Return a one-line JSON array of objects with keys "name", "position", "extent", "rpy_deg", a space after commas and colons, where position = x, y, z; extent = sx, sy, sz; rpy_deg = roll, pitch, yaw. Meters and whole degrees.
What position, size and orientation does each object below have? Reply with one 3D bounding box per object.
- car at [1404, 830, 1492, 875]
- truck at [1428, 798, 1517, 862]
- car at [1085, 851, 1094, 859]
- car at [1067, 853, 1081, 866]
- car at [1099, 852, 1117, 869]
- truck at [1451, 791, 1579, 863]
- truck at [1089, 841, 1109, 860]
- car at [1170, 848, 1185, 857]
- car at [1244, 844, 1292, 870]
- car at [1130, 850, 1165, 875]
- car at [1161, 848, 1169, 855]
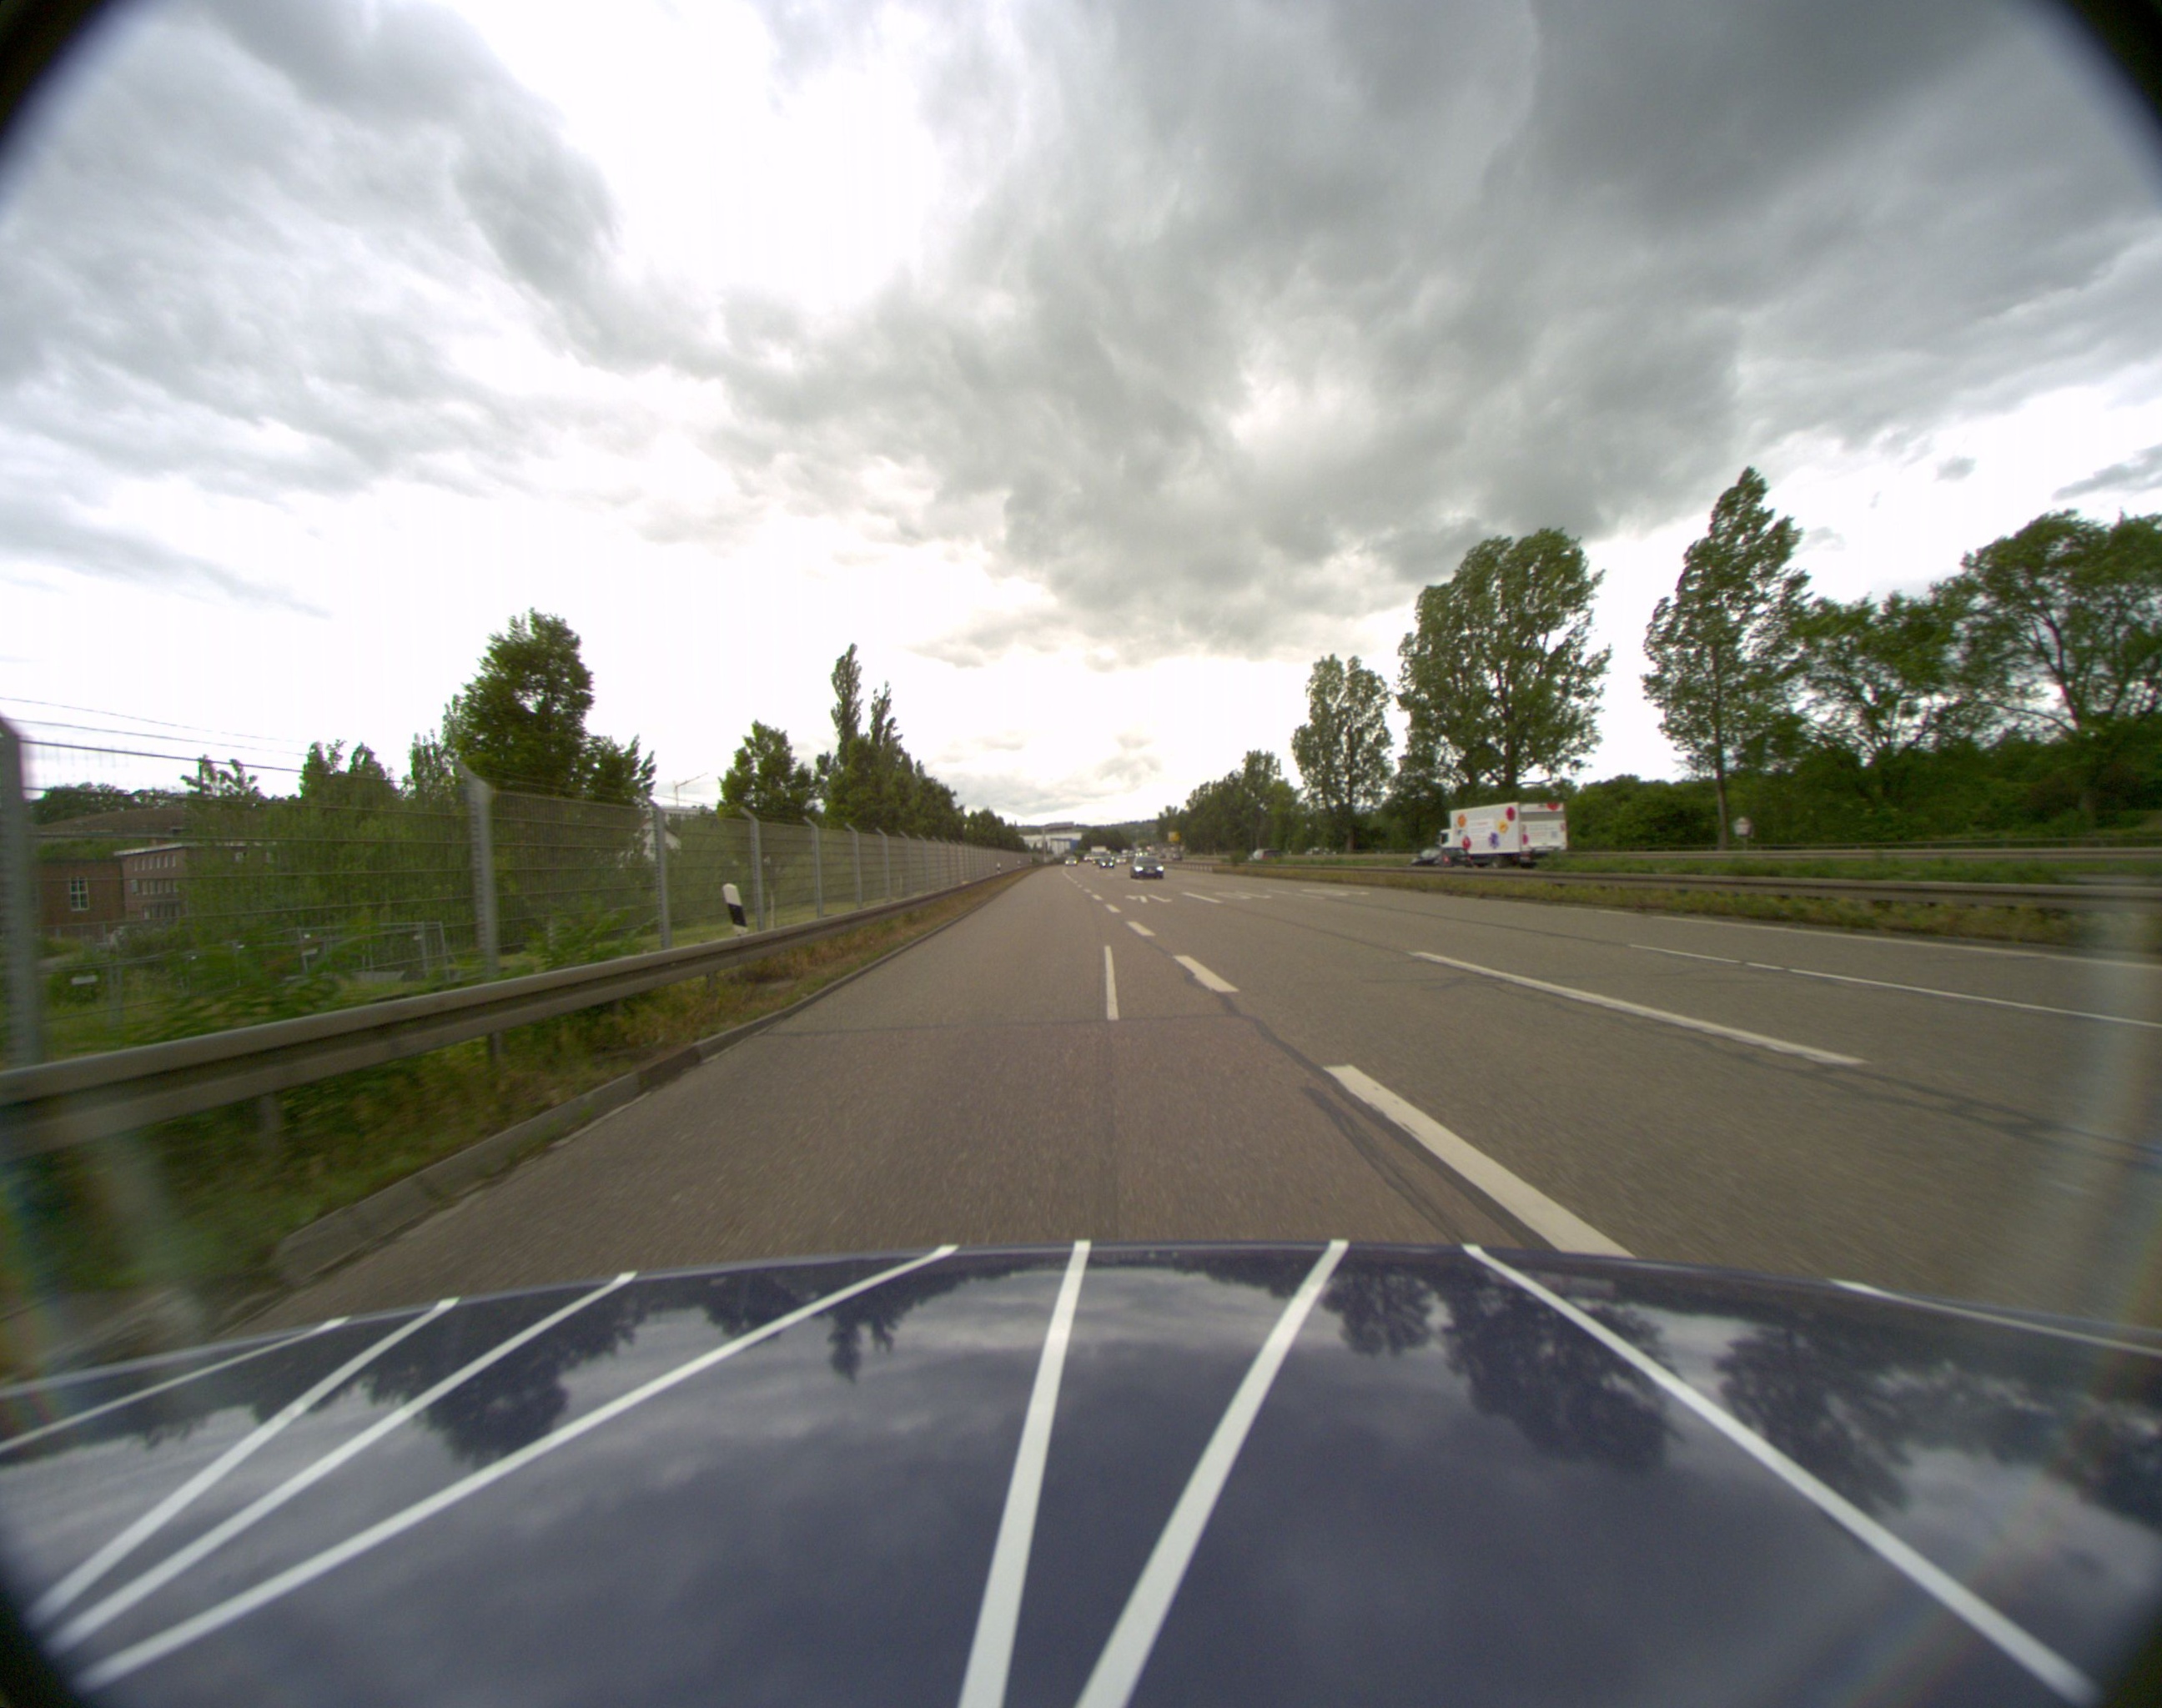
[{"name": "car", "position": [18.153, -0.071, 37.809], "extent": [1.999, 2.002, 3.998], "rpy_deg": [-4, 0, -6]}, {"name": "truck", "position": [24.110, -1.415, 47.045], "extent": [2.993, 3.622, 3.998], "rpy_deg": [-4, 1, -6]}, {"name": "car", "position": [2.137, 0.222, 186.552], "extent": [1.999, 2.002, 4.000], "rpy_deg": [-2, 0, 0]}, {"name": "car", "position": [-1.207, 0.883, 126.341], "extent": [1.998, 2.002, 4.000], "rpy_deg": [-4, 1, 3]}, {"name": "car", "position": [3.264, 0.785, 92.477], "extent": [1.998, 2.002, 4.001], "rpy_deg": [-4, 0, 3]}, {"name": "truck", "position": [24.516, -1.406, 43.317], "extent": [2.991, 3.622, 6.334], "rpy_deg": [-4, 0, -6]}, {"name": "truck", "position": [3.074, -0.606, 131.616], "extent": [3.040, 3.141, 7.565], "rpy_deg": [-2, 1, -1]}, {"name": "car", "position": [19.831, -0.332, 156.038], "extent": [1.999, 1.599, 4.648], "rpy_deg": [-4, 0, -4]}, {"name": "car", "position": [14.024, 0.210, 57.458], "extent": [1.851, 1.720, 5.523], "rpy_deg": [-4, 0, -4]}, {"name": "car", "position": [4.144, 0.505, 47.870], "extent": [1.940, 1.492, 4.304], "rpy_deg": [-1, 0, 3]}, {"name": "car", "position": [25.523, -0.815, 230.591], "extent": [1.997, 2.001, 5.225], "rpy_deg": [-4, -1, 8]}]
